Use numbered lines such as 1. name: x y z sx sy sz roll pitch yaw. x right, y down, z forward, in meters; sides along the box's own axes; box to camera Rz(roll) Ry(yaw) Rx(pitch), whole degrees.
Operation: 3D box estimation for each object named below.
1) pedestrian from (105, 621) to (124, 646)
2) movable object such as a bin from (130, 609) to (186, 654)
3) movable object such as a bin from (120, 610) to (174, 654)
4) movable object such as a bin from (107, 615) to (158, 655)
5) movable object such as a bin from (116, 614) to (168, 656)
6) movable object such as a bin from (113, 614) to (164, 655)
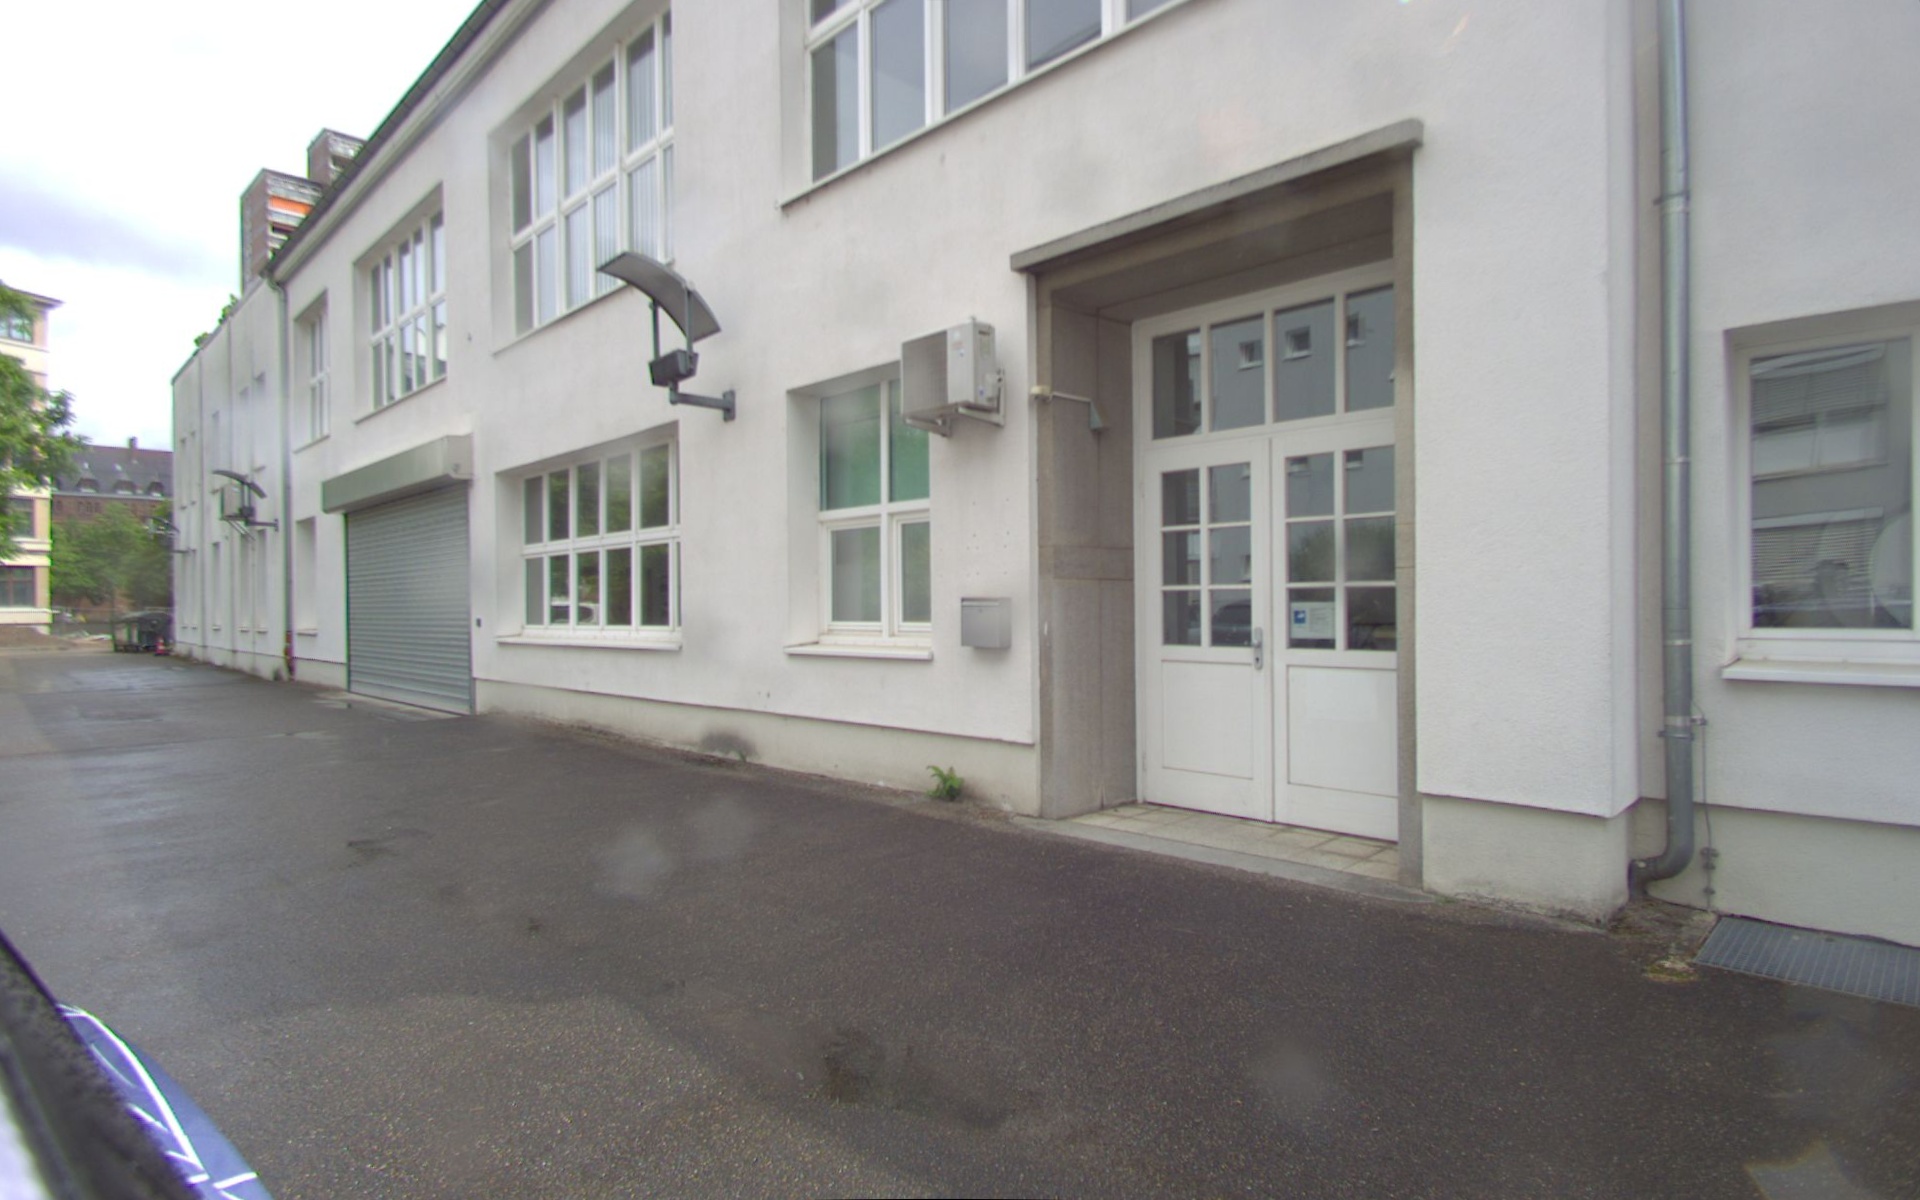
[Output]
1. pedestrian: -51.881 2.053 62.120 0.617 1.520 0.648 -1 -1 5
2. movable object such as a bin: -28.198 1.106 35.589 1.366 1.481 1.344 -3 0 45
3. movable object such as a bin: -29.488 1.156 36.716 1.366 1.481 1.344 -3 0 45
4. movable object such as a bin: -32.636 1.359 39.911 1.561 1.481 1.393 -3 0 45
5. movable object such as a bin: -30.494 1.287 37.722 1.353 1.481 1.344 -3 0 45
6. movable object such as a bin: -31.490 1.329 38.778 1.466 1.481 1.344 -3 0 45
